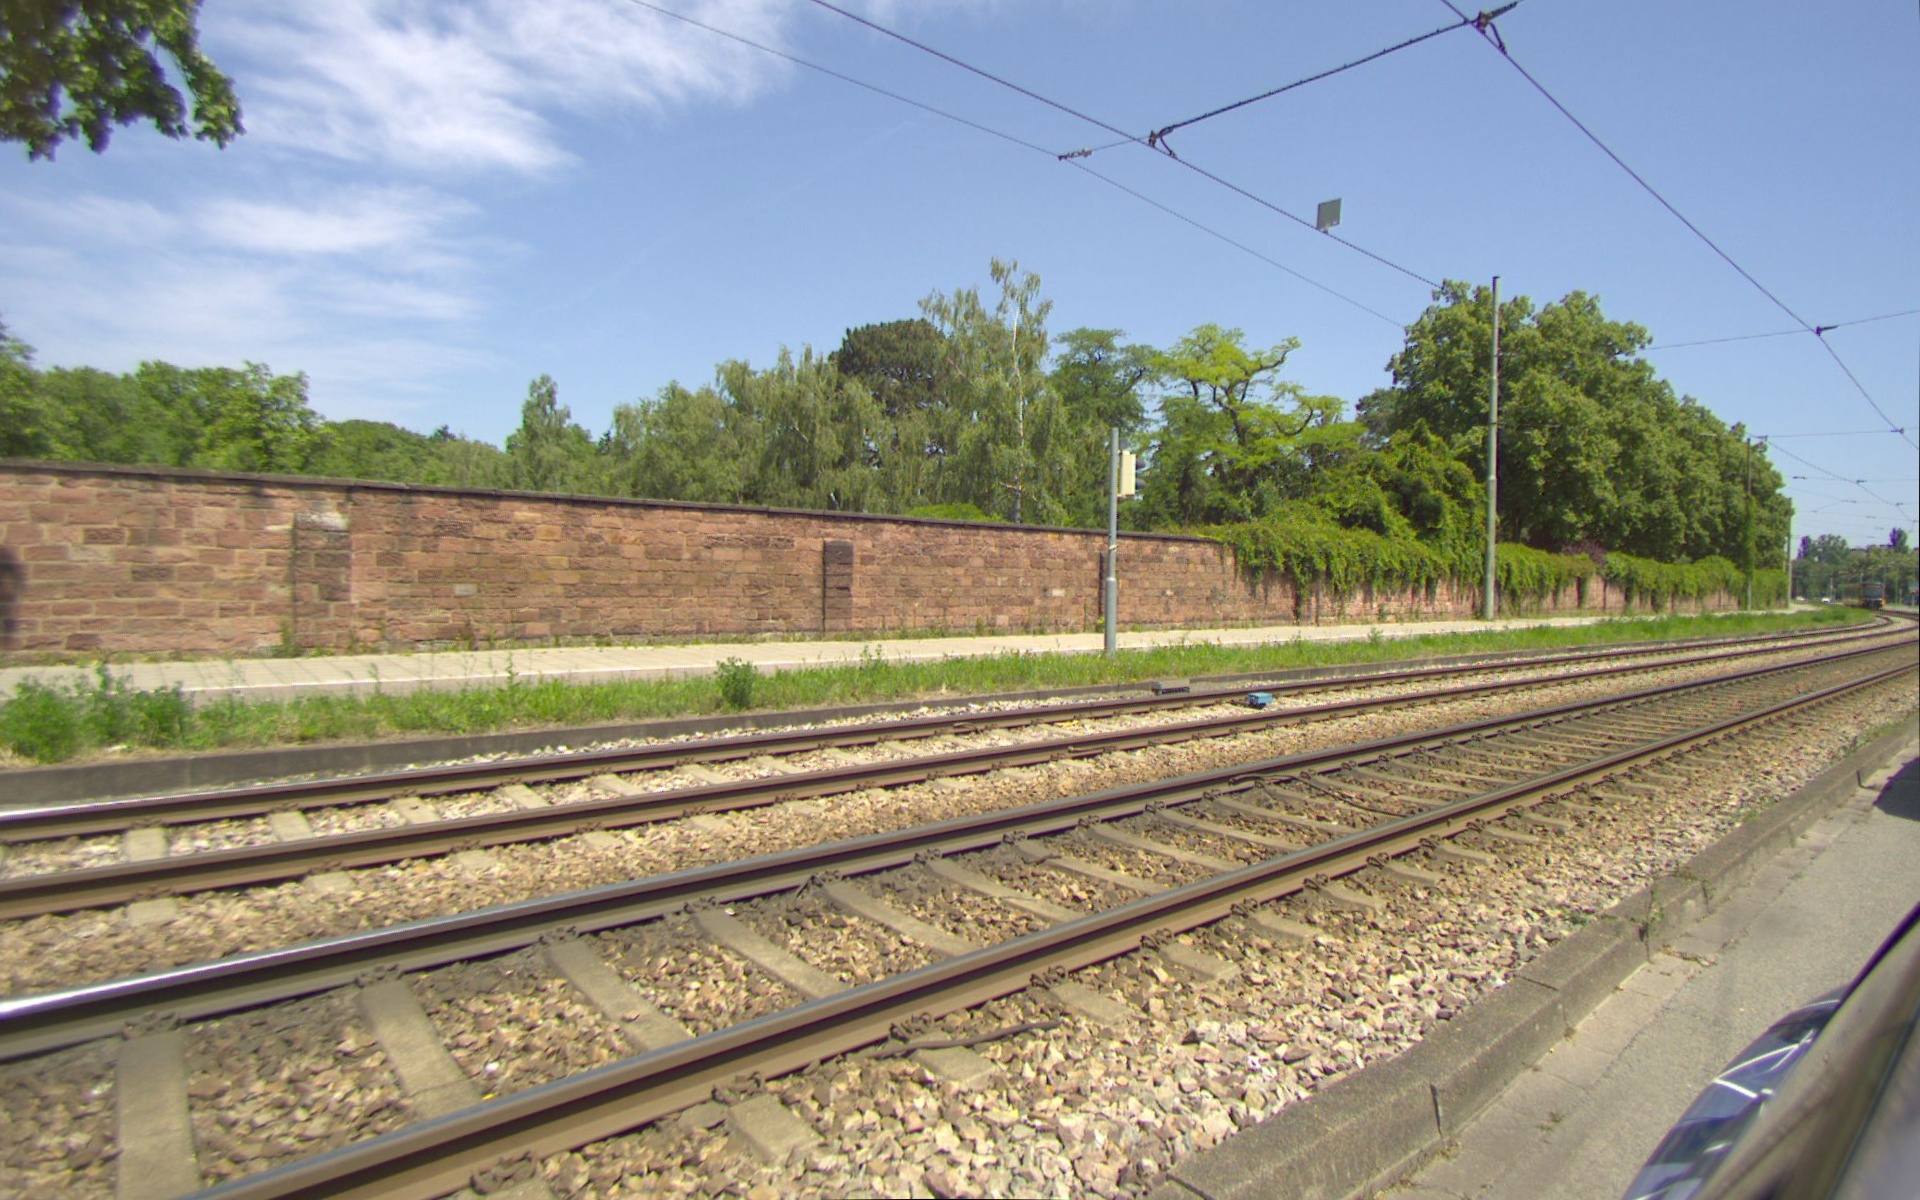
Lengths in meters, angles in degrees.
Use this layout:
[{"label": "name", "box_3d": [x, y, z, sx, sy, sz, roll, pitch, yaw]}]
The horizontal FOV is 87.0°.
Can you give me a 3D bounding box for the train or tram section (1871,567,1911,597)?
[{"label": "train or tram section", "box_3d": [123.476, -2.404, 134.169, 14.021, 3.854, 2.810, -1, 1, -43]}]
